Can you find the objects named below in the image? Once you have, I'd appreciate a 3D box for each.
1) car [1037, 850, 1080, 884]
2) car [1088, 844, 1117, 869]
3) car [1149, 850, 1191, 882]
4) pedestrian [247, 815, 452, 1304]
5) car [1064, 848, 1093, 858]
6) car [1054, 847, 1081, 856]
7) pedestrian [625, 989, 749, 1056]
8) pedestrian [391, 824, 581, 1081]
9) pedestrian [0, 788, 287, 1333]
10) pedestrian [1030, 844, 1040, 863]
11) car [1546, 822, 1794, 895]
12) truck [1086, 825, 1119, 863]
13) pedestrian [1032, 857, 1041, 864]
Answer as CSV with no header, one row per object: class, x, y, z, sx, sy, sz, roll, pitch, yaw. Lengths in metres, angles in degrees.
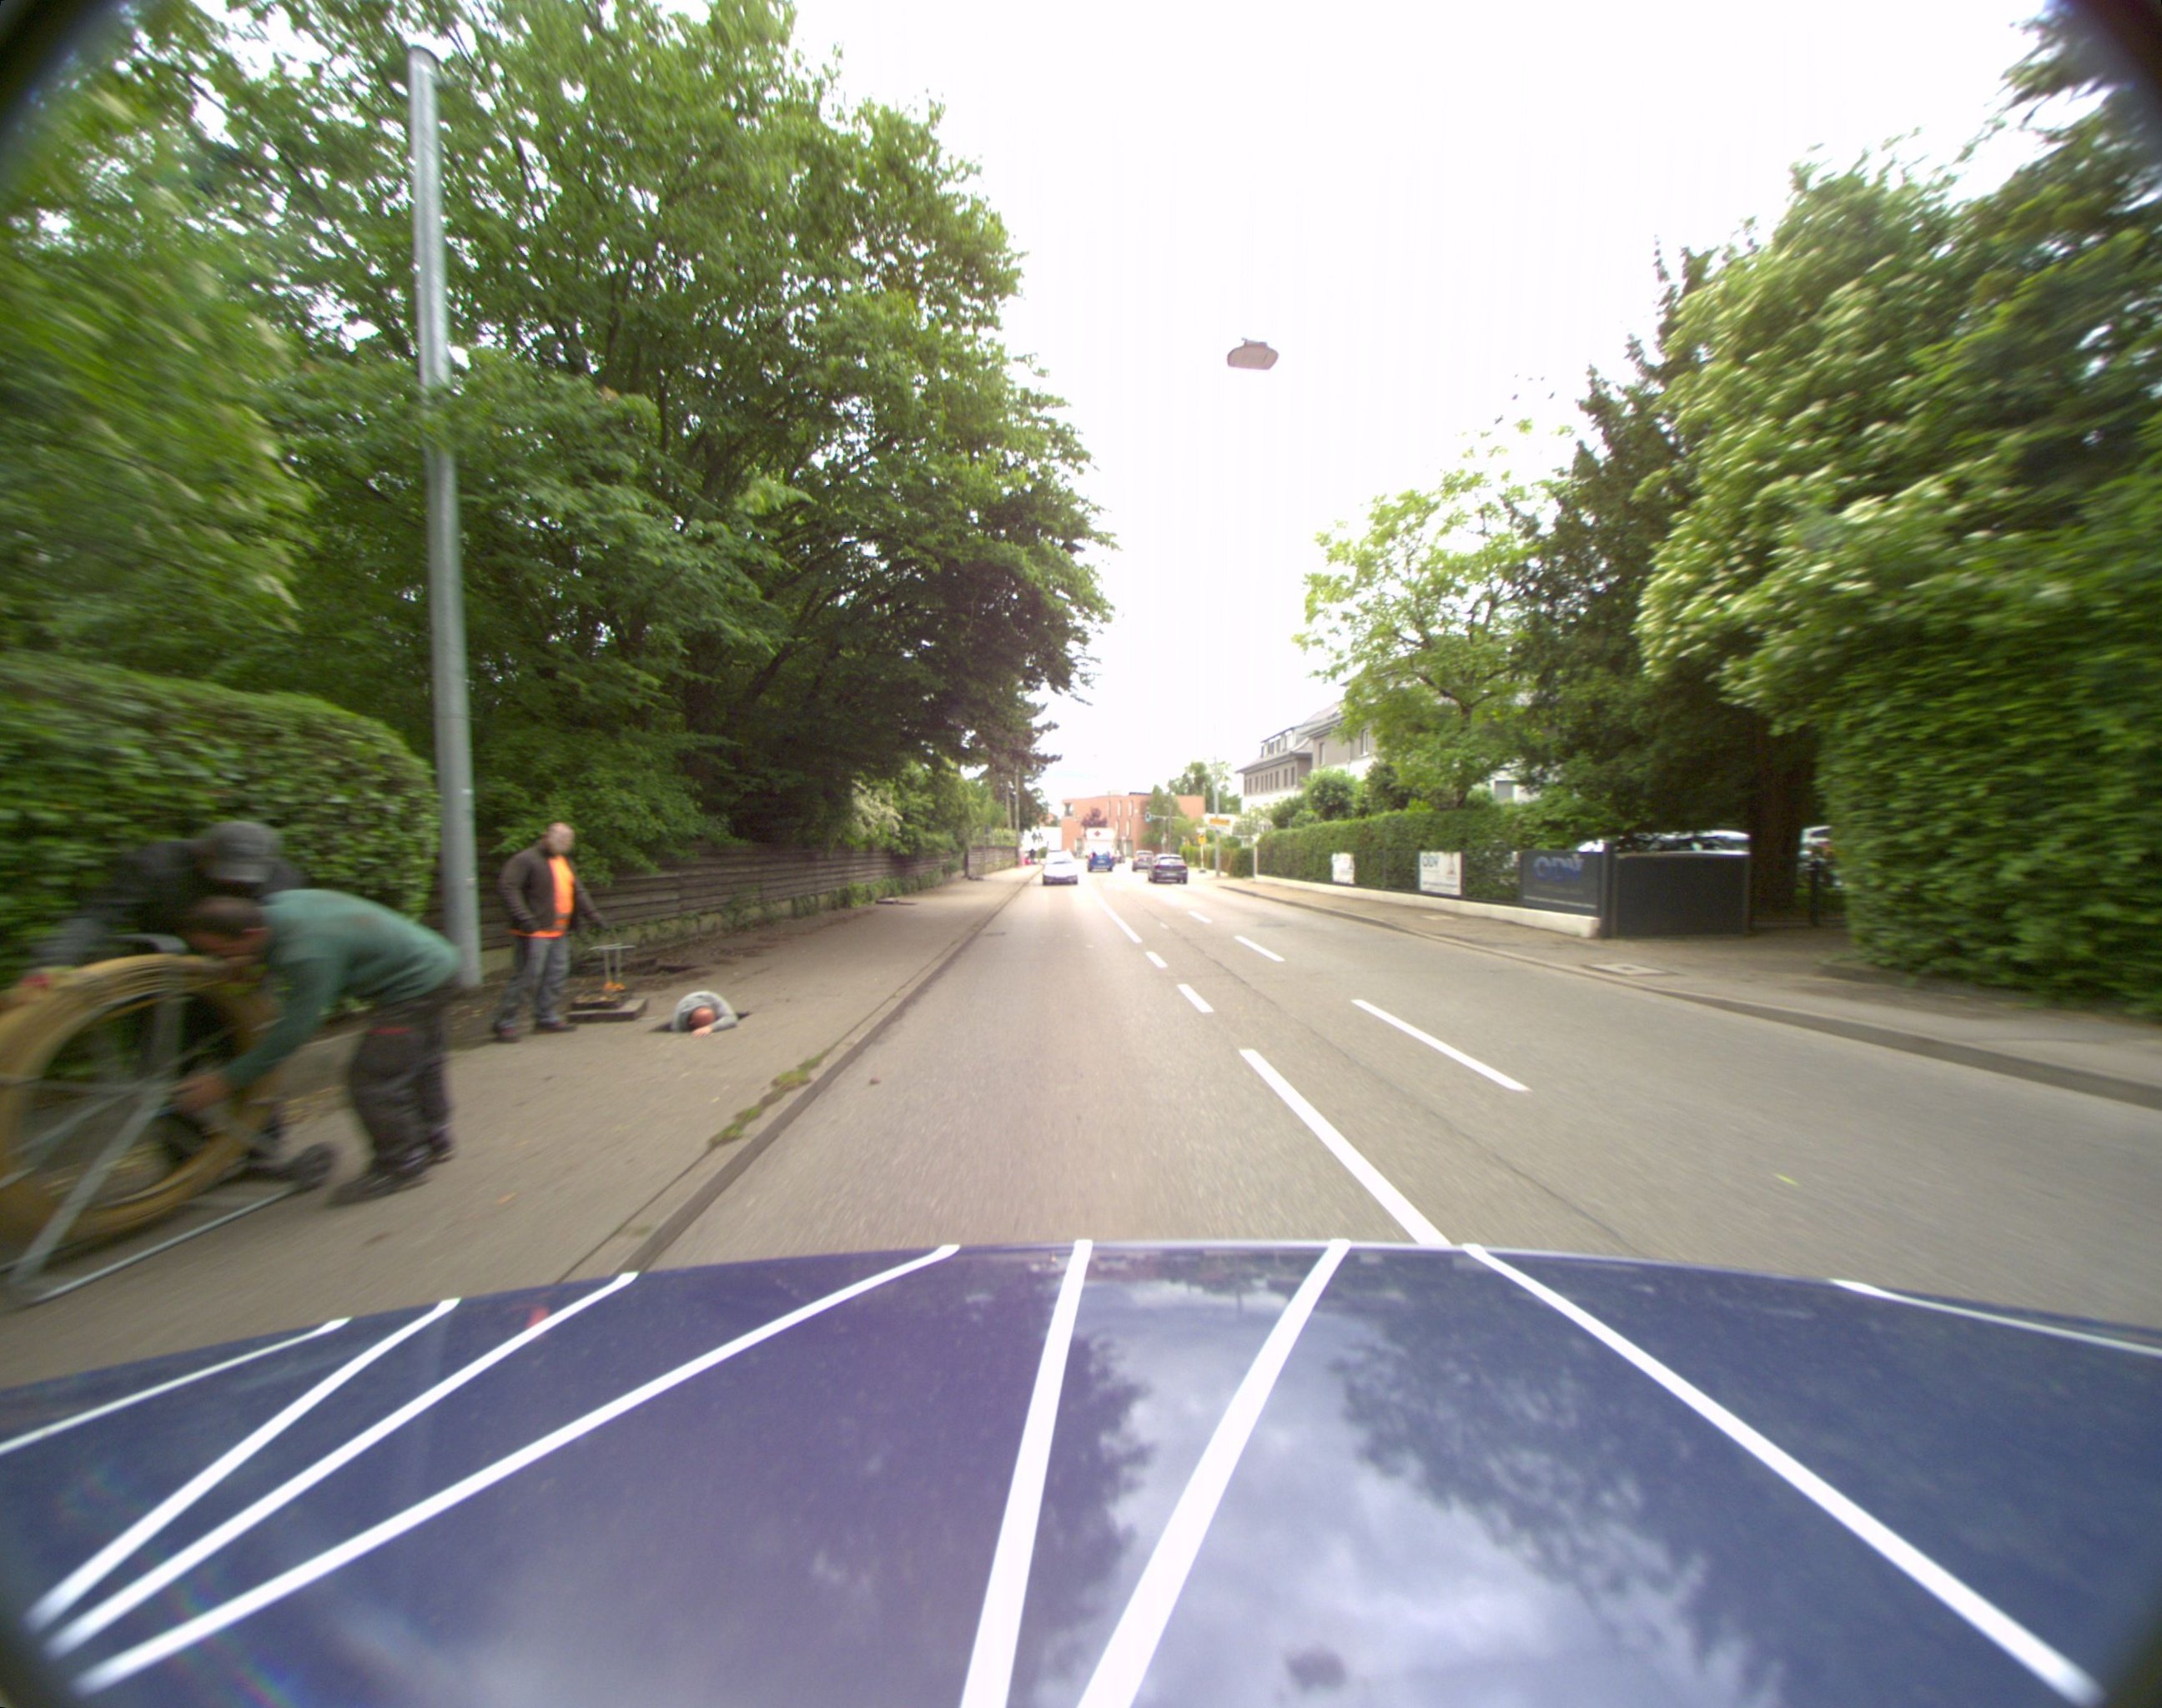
car,-1.111,0.623,38.095,1.999,1.587,3.999,-1,0,-1
car,1.517,0.152,55.579,1.810,1.707,4.377,-1,0,-2
car,4.417,0.569,38.346,1.685,1.463,4.017,-2,0,1
pedestrian,-3.046,0.754,3.166,0.600,1.797,0.520,1,1,39
car,-0.406,-0.158,129.322,4.442,1.549,1.996,0,0,-25
car,-2.361,-0.491,132.532,4.442,1.549,1.996,0,0,-25
pedestrian,-3.301,1.409,6.428,0.674,0.391,0.740,0,1,-2
pedestrian,-4.404,0.690,5.686,0.809,1.797,0.740,0,1,-2
pedestrian,-3.602,0.679,2.916,0.692,1.797,0.671,-1,1,-42
pedestrian,-4.715,-0.037,78.213,0.849,1.912,0.800,-1,1,-21
car,13.077,0.076,17.077,3.997,1.543,1.999,0,2,0
truck,1.978,-1.013,72.994,2.785,3.442,7.490,0,2,-1
pedestrian,-4.517,0.626,77.065,0.648,0.692,0.583,-1,1,-42
